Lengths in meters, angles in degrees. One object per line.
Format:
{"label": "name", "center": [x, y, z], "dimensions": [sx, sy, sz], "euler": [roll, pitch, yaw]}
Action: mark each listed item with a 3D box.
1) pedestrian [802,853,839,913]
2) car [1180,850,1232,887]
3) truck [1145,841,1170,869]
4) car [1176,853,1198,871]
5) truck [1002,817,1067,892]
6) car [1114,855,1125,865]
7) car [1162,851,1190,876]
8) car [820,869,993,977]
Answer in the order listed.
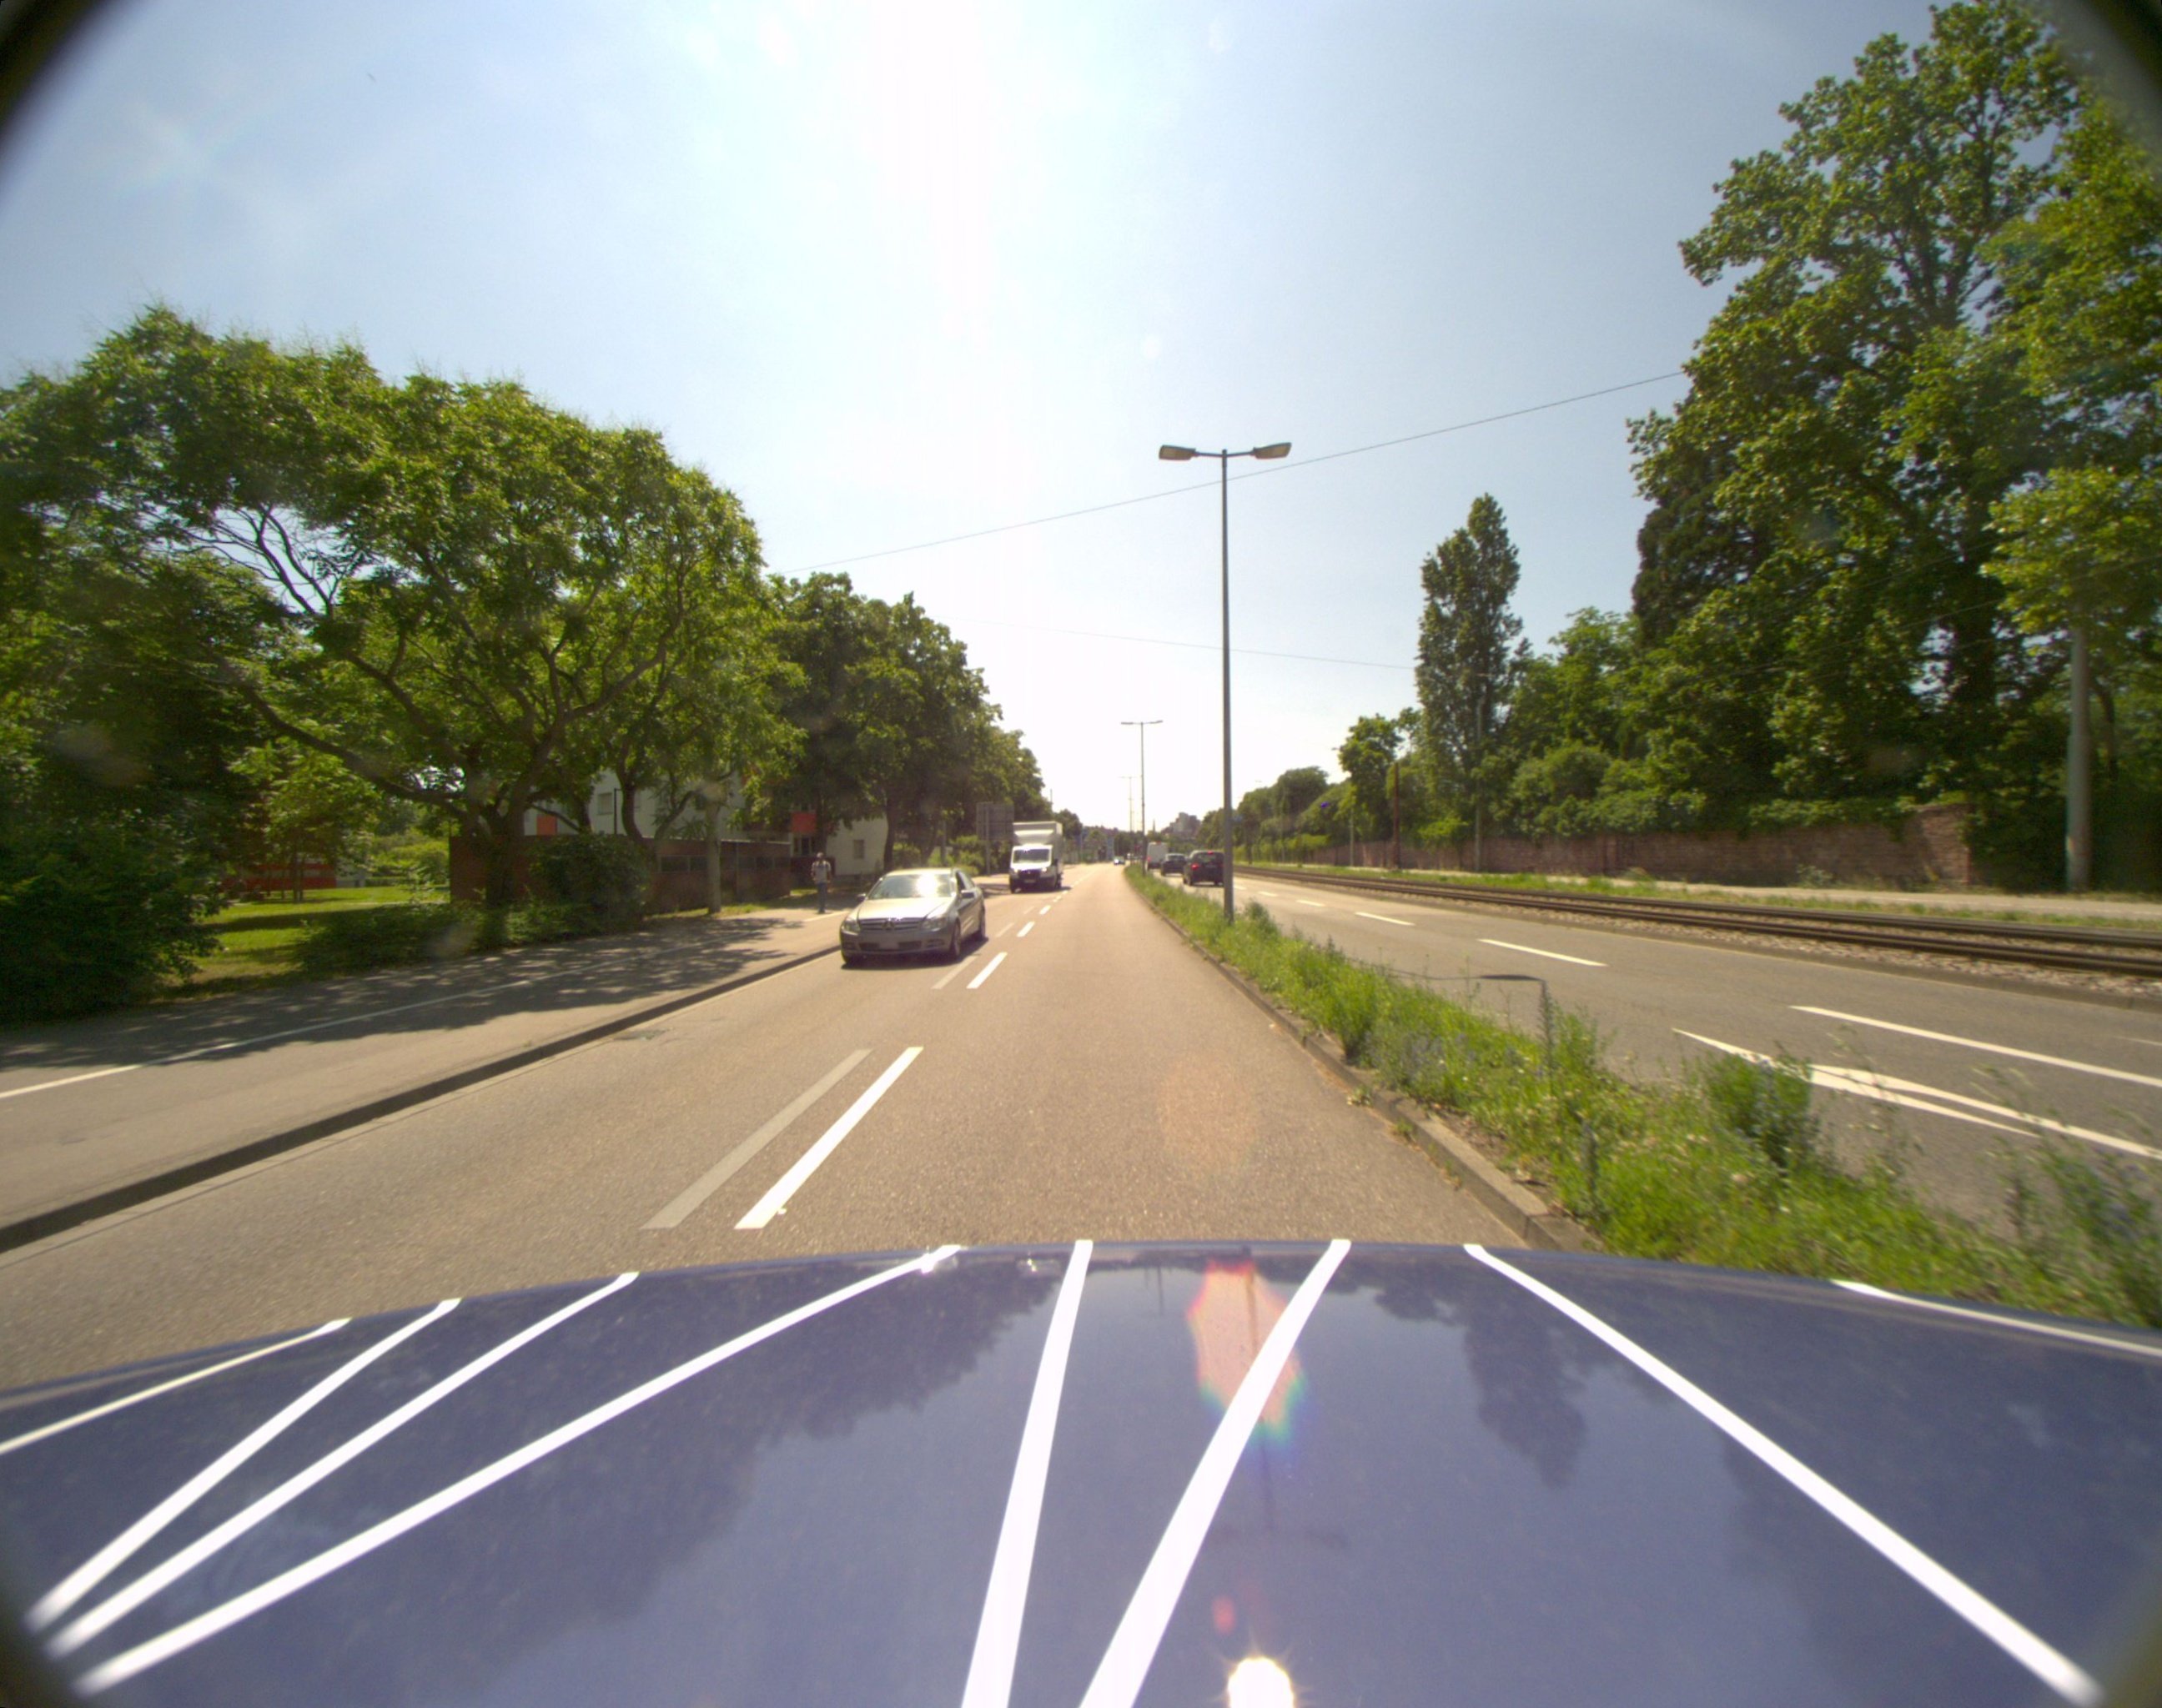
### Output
{"label": "pedestrian", "center": [-7.299, 0.791, 21.318], "dimensions": [0.670, 1.634, 0.856], "euler": [-1, 1, 1]}
{"label": "car", "center": [6.111, 0.672, 37.645], "dimensions": [1.833, 1.703, 4.793], "euler": [1, 0, 1]}
{"label": "truck", "center": [7.503, 0.109, 75.137], "dimensions": [2.086, 2.732, 5.547], "euler": [0, 0, 2]}
{"label": "car", "center": [10.248, 0.746, 73.819], "dimensions": [1.833, 1.576, 3.772], "euler": [3, 0, 5]}
{"label": "truck", "center": [-2.129, 0.011, 37.768], "dimensions": [2.294, 3.259, 8.313], "euler": [-1, 0, 3]}
{"label": "car", "center": [6.701, 1.040, 132.934], "dimensions": [1.829, 1.556, 4.000], "euler": [-1, 0, 1]}
{"label": "car", "center": [6.894, 0.655, 55.634], "dimensions": [1.833, 1.746, 4.490], "euler": [1, 0, 5]}
{"label": "car", "center": [-2.784, 1.049, 13.086], "dimensions": [1.903, 1.451, 3.971], "euler": [-2, 0, 2]}
